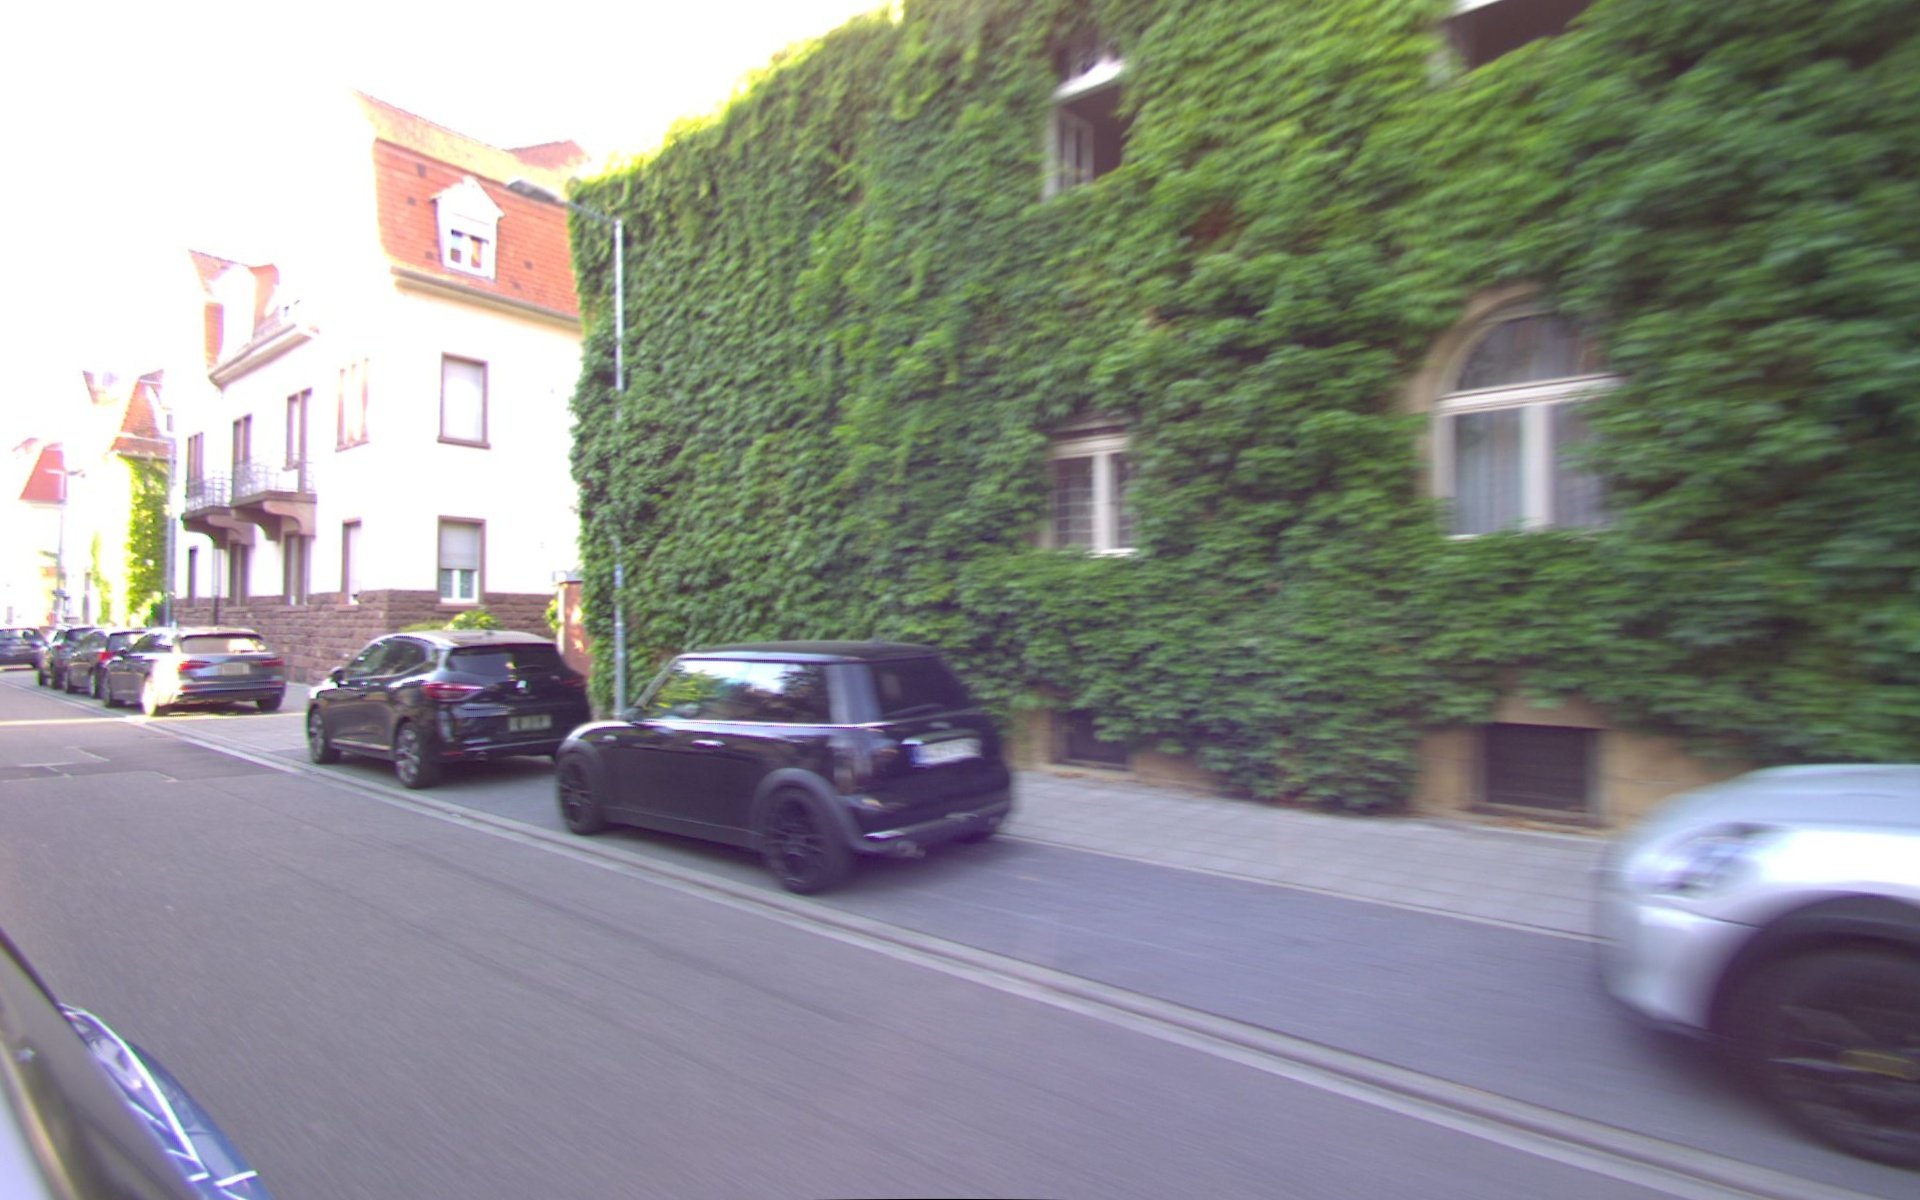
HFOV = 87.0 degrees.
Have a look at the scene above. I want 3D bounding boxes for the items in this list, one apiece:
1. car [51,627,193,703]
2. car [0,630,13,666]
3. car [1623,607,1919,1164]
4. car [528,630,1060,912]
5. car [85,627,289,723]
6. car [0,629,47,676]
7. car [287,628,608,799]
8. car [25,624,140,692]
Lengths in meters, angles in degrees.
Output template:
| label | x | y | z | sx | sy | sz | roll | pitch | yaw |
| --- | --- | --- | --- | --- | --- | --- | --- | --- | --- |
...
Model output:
| label | x | y | z | sx | sy | sz | roll | pitch | yaw |
| --- | --- | --- | --- | --- | --- | --- | --- | --- | --- |
| car | -18.172 | 1.336 | 21.891 | 3.839 | 1.458 | 1.637 | -1 | -1 | 39 |
| car | -39.417 | 1.920 | 40.597 | 4.164 | 1.426 | 1.637 | -1 | -1 | 40 |
| car | 4.085 | 0.744 | 2.458 | 3.917 | 1.471 | 1.686 | -1 | -1 | 42 |
| car | -1.310 | 0.925 | 7.018 | 3.719 | 1.390 | 1.669 | -1 | -1 | 41 |
| car | -13.802 | 1.231 | 17.965 | 4.771 | 1.472 | 1.775 | -1 | -2 | 39 |
| car | -31.956 | 1.736 | 33.880 | 4.003 | 1.458 | 1.636 | -1 | -1 | 41 |
| car | -5.537 | 1.036 | 10.697 | 4.097 | 1.431 | 1.632 | -1 | -1 | 41 |
| car | -21.536 | 1.369 | 24.790 | 3.762 | 1.497 | 1.636 | -1 | -1 | 41 |
